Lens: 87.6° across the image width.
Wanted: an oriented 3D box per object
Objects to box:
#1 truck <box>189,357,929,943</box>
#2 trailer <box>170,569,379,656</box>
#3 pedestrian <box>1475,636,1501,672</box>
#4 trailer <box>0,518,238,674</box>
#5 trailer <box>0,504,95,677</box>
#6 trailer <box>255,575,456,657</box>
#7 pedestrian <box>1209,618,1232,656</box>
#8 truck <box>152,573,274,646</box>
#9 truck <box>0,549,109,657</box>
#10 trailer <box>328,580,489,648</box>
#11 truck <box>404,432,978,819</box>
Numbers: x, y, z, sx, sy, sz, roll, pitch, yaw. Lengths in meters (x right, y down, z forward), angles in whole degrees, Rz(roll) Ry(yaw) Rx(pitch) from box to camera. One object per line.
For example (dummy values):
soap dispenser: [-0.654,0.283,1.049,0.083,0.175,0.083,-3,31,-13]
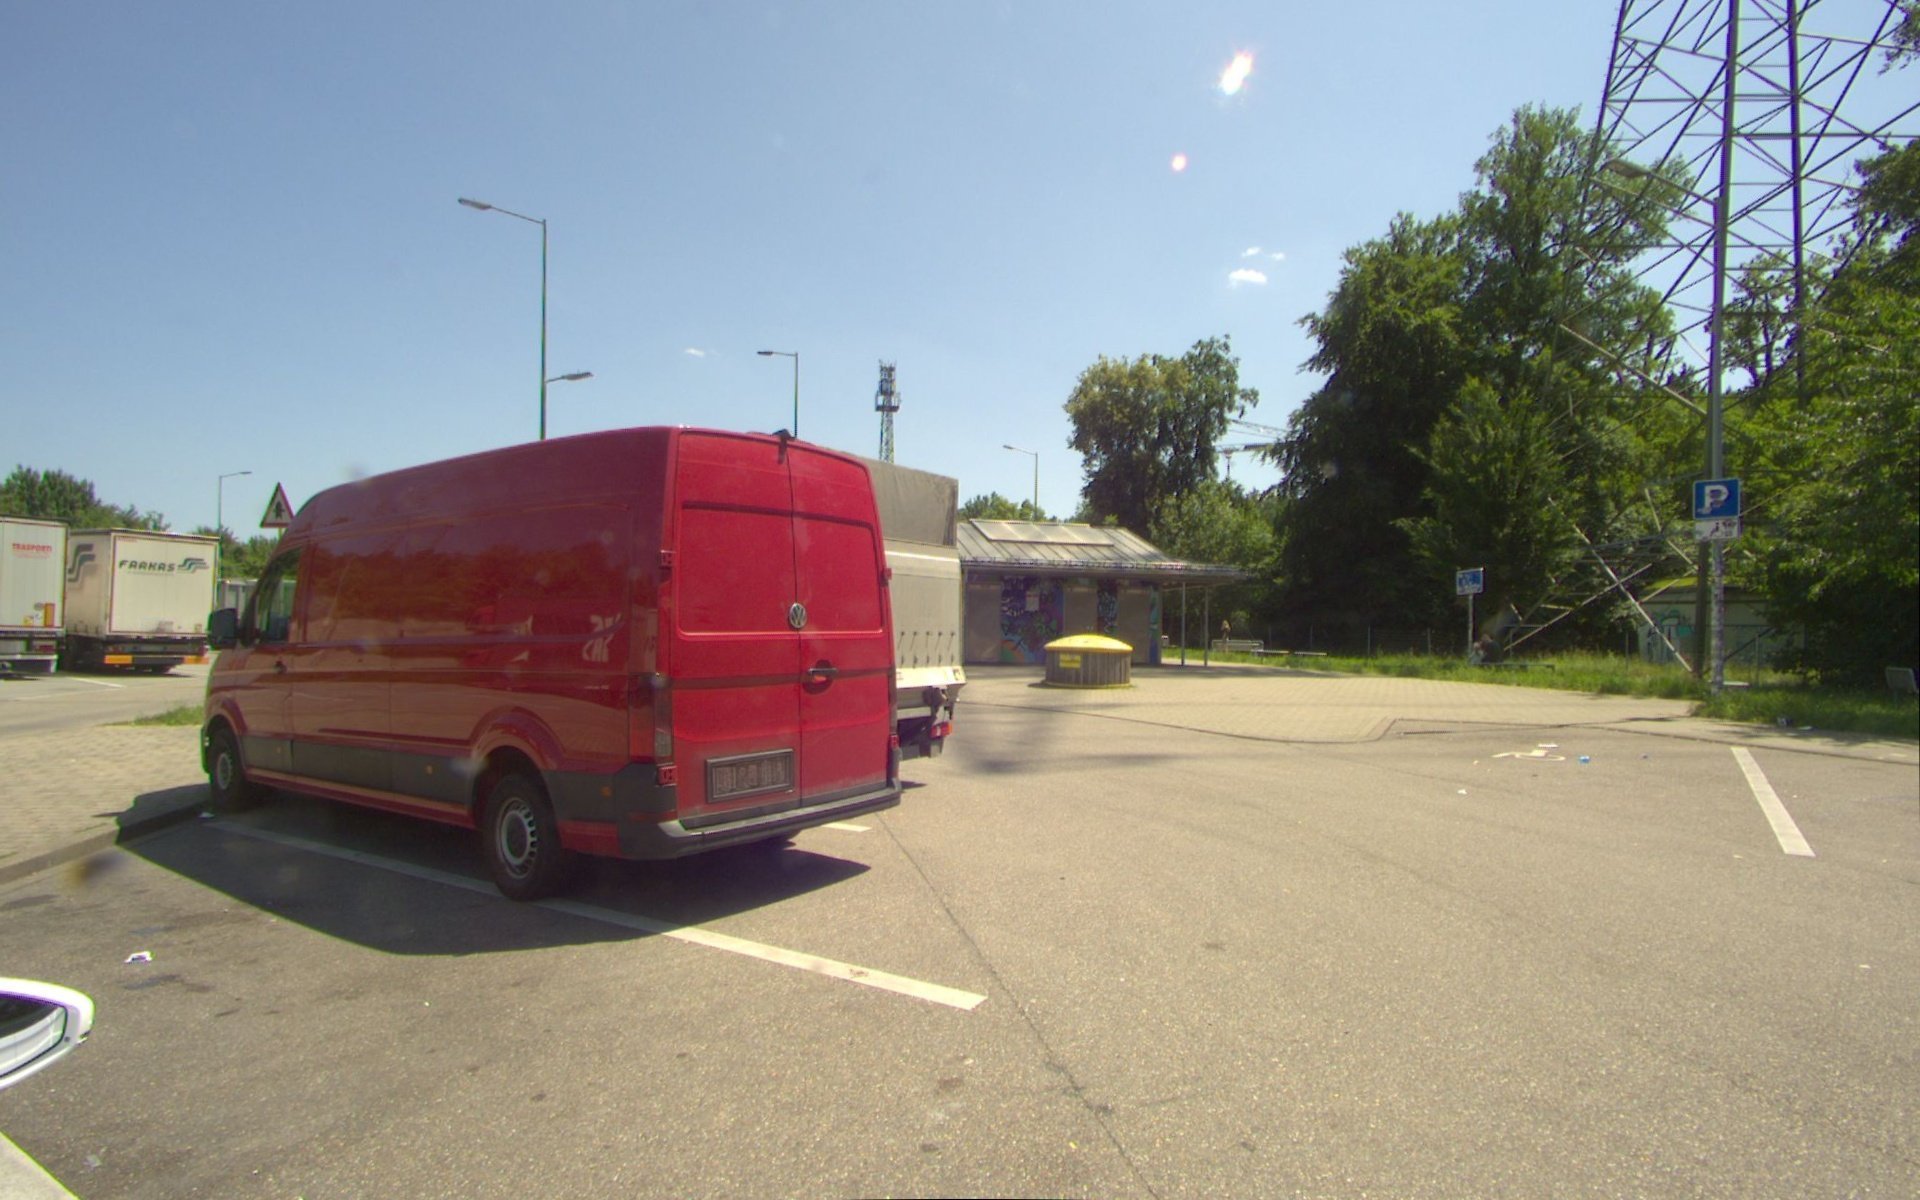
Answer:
truck: [-3.331,0.302,7.317,6.372,2.685,2.005,-1,-2,37]
trailer: [-32.474,0.486,47.076,13.561,3.646,2.854,1,-2,32]
pedestrian: [14.648,1.486,27.798,0.439,0.987,0.460,0,-1,-19]
trailer: [-27.610,-0.166,31.586,13.561,4.162,2.854,1,-2,32]
trailer: [-28.683,-0.338,27.999,13.561,4.162,2.854,1,-2,32]
trailer: [-30.872,0.710,50.757,13.561,3.646,2.854,1,-2,32]
pedestrian: [11.422,1.638,43.888,0.903,1.639,0.814,0,-1,10]
truck: [-37.546,0.478,50.299,5.887,3.406,2.862,1,-2,32]
truck: [-32.467,0.101,34.653,5.887,3.406,2.862,1,-2,32]
trailer: [-36.168,0.846,65.315,13.561,3.955,2.854,1,-2,32]
truck: [-3.081,0.273,10.501,6.372,2.944,2.411,-1,-2,37]
